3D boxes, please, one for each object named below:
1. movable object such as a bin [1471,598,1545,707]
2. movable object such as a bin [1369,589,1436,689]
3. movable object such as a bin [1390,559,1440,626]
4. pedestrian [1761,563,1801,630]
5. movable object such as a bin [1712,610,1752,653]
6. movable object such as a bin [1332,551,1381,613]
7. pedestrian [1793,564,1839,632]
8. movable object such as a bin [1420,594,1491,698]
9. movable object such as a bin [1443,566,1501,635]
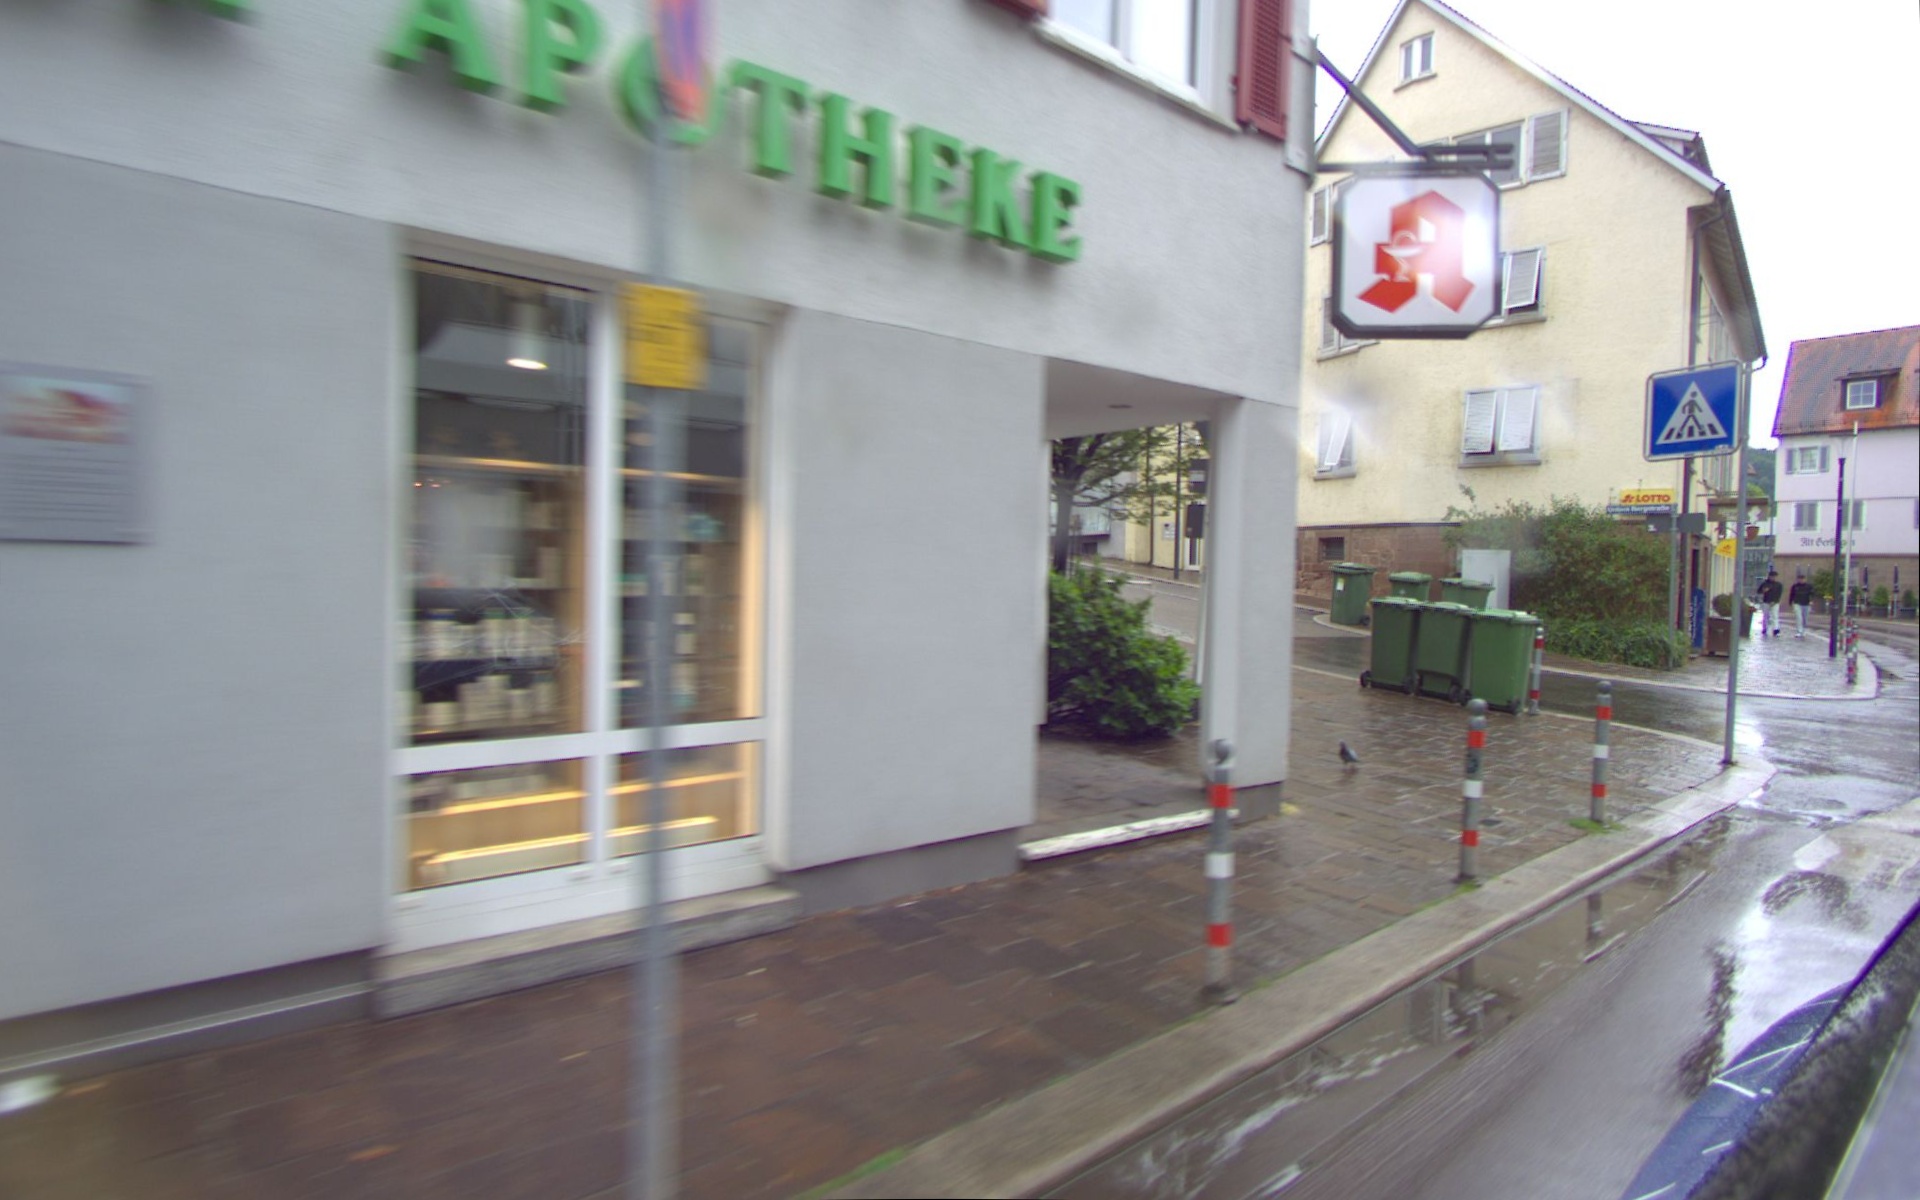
[{"bbox_3d":[5.834,0.543,10.785,0.539,1.069,0.501,-3,5,-42],"label":"movable object such as a bin"},{"bbox_3d":[5.108,0.436,11.681,0.539,1.069,0.501,-3,5,-42],"label":"movable object such as a bin"},{"bbox_3d":[7.722,-0.137,17.172,0.614,1.069,0.515,-3,5,-40],"label":"movable object such as a bin"},{"bbox_3d":[24.557,-0.126,30.273,0.648,1.925,0.654,3,4,22],"label":"pedestrian"},{"bbox_3d":[16.454,0.661,21.577,0.546,0.846,0.896,5,4,43],"label":"movable object such as a bin"},{"bbox_3d":[7.177,-0.334,18.337,0.612,1.069,0.516,-1,4,-24],"label":"movable object such as a bin"},{"bbox_3d":[25.139,-0.072,29.728,0.765,1.927,0.800,1,3,22],"label":"pedestrian"},{"bbox_3d":[5.507,0.492,11.252,0.539,1.069,0.501,-3,5,-42],"label":"movable object such as a bin"},{"bbox_3d":[8.285,-0.005,16.392,0.612,1.069,0.516,0,4,-12],"label":"movable object such as a bin"}]
